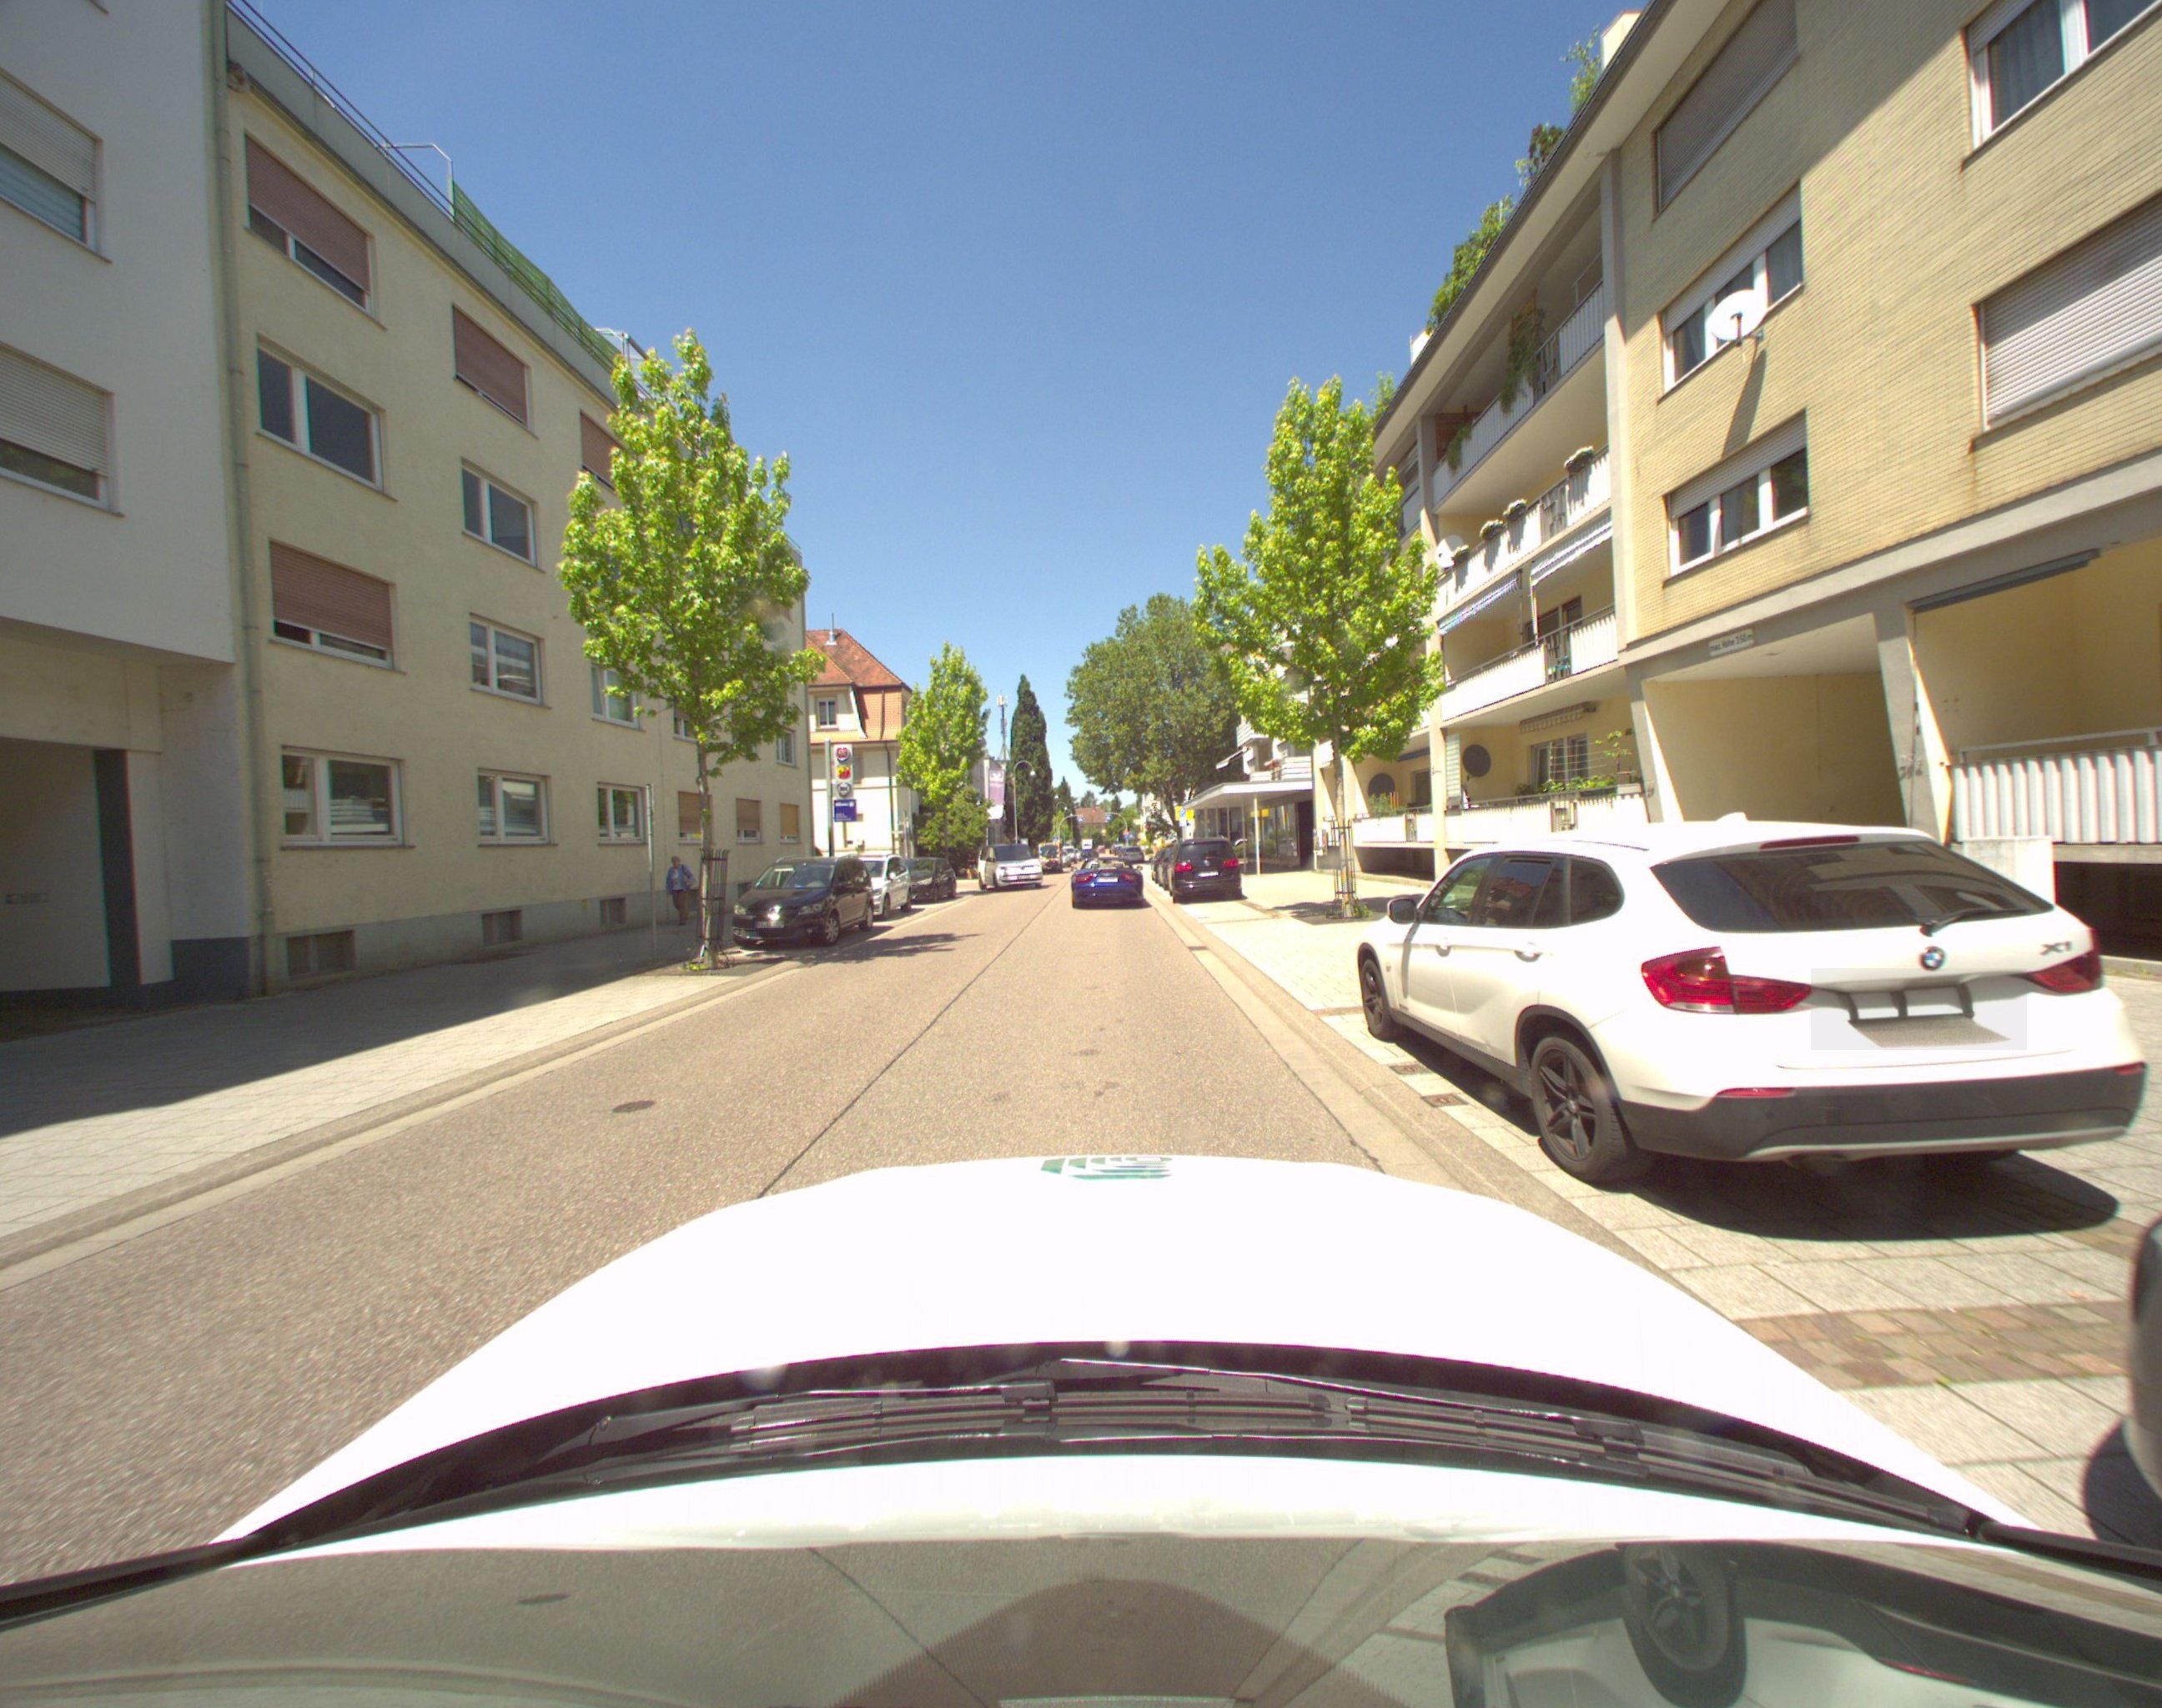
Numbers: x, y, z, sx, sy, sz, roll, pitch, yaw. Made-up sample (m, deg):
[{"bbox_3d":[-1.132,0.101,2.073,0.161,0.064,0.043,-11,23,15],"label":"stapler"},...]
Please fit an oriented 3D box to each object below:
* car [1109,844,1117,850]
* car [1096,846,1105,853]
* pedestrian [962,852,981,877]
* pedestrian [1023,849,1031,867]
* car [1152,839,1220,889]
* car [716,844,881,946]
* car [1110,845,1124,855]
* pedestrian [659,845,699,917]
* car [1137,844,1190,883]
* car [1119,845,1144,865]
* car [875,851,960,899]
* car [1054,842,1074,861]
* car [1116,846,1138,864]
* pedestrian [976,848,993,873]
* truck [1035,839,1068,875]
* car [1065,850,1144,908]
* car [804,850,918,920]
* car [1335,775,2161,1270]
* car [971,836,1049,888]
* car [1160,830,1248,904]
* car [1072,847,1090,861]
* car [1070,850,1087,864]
[{"bbox_3d":[8.844,-1.983,224.562,1.943,1.476,4.140,-3,0,3],"label":"car"},{"bbox_3d":[3.966,-0.913,165.975,1.763,1.476,4.138,-2,0,1],"label":"car"},{"bbox_3d":[-6.328,0.622,47.057,0.775,1.371,0.544,-6,4,-39],"label":"pedestrian"},{"bbox_3d":[-4.628,0.356,70.342,0.585,1.574,0.781,-2,0,0],"label":"pedestrian"},{"bbox_3d":[3.667,0.339,29.130,1.887,1.530,4.570,-3,0,2],"label":"car"},{"bbox_3d":[-5.398,0.677,16.191,1.723,1.740,4.392,1,1,0],"label":"car"},{"bbox_3d":[5.536,-0.626,126.656,1.944,1.476,4.138,-3,0,1],"label":"car"},{"bbox_3d":[-9.849,0.643,19.953,0.657,1.680,0.628,-4,2,-16],"label":"pedestrian"},{"bbox_3d":[3.392,0.365,34.154,1.838,1.414,4.164,-3,0,2],"label":"car"},{"bbox_3d":[4.287,0.089,69.706,1.969,1.450,4.351,-4,1,1],"label":"car"},{"bbox_3d":[-5.483,0.663,27.873,1.746,1.474,4.326,0,0,4],"label":"car"},{"bbox_3d":[-1.693,-0.281,80.483,1.764,1.767,4.137,-3,1,0],"label":"car"},{"bbox_3d":[4.563,0.095,81.953,1.969,1.556,4.351,-4,1,1],"label":"car"},{"bbox_3d":[-5.560,0.357,46.907,0.601,1.371,0.686,-7,4,-43],"label":"pedestrian"},{"bbox_3d":[-1.885,0.149,53.166,1.798,2.117,4.716,-3,1,1],"label":"truck"},{"bbox_3d":[0.618,0.621,22.738,1.969,1.398,4.627,-1,0,0],"label":"car"},{"bbox_3d":[-5.695,0.724,21.669,1.818,1.619,4.392,-1,1,0],"label":"car"},{"bbox_3d":[2.973,0.564,4.847,1.715,1.583,4.228,-3,0,3],"label":"car"},{"bbox_3d":[-3.064,0.351,34.102,1.914,1.922,4.871,-3,0,-21],"label":"car"},{"bbox_3d":[3.387,0.271,23.311,1.985,1.798,4.574,-3,2,3],"label":"car"},{"bbox_3d":[-0.016,-0.020,96.530,1.944,1.476,4.138,-3,0,1],"label":"car"},{"bbox_3d":[-0.214,0.305,91.445,1.763,1.476,4.138,-3,0,1],"label":"car"}]
